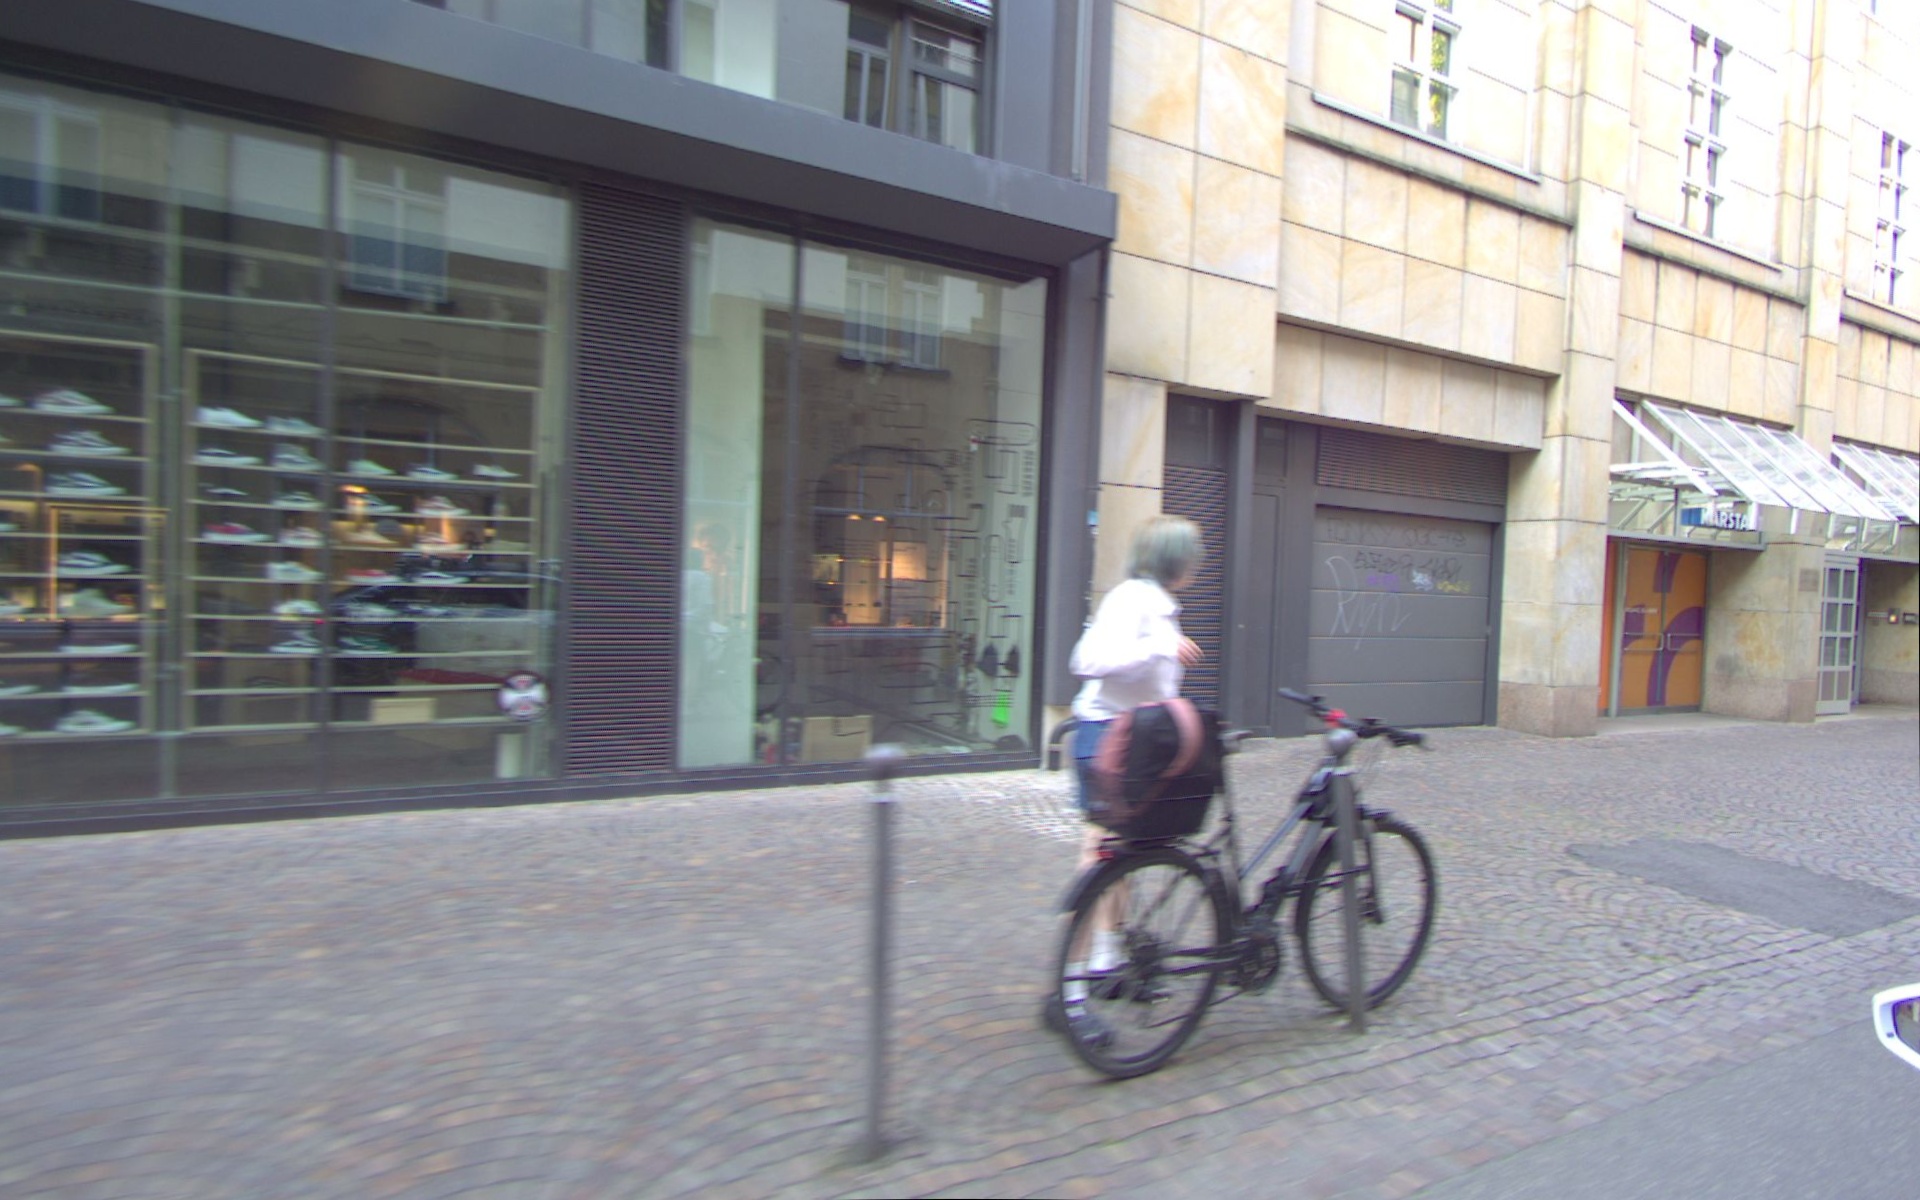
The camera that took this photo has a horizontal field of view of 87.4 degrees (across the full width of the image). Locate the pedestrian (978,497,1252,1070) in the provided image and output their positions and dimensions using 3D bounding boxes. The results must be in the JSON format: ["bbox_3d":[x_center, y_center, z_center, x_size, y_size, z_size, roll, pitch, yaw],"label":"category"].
[{"bbox_3d":[0.494,0.559,3.398,0.755,1.742,0.592,3,3,4],"label":"pedestrian"}]

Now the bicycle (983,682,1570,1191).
[{"bbox_3d":[1.047,0.889,3.150,1.891,1.169,0.530,1,3,-28],"label":"bicycle"}]
